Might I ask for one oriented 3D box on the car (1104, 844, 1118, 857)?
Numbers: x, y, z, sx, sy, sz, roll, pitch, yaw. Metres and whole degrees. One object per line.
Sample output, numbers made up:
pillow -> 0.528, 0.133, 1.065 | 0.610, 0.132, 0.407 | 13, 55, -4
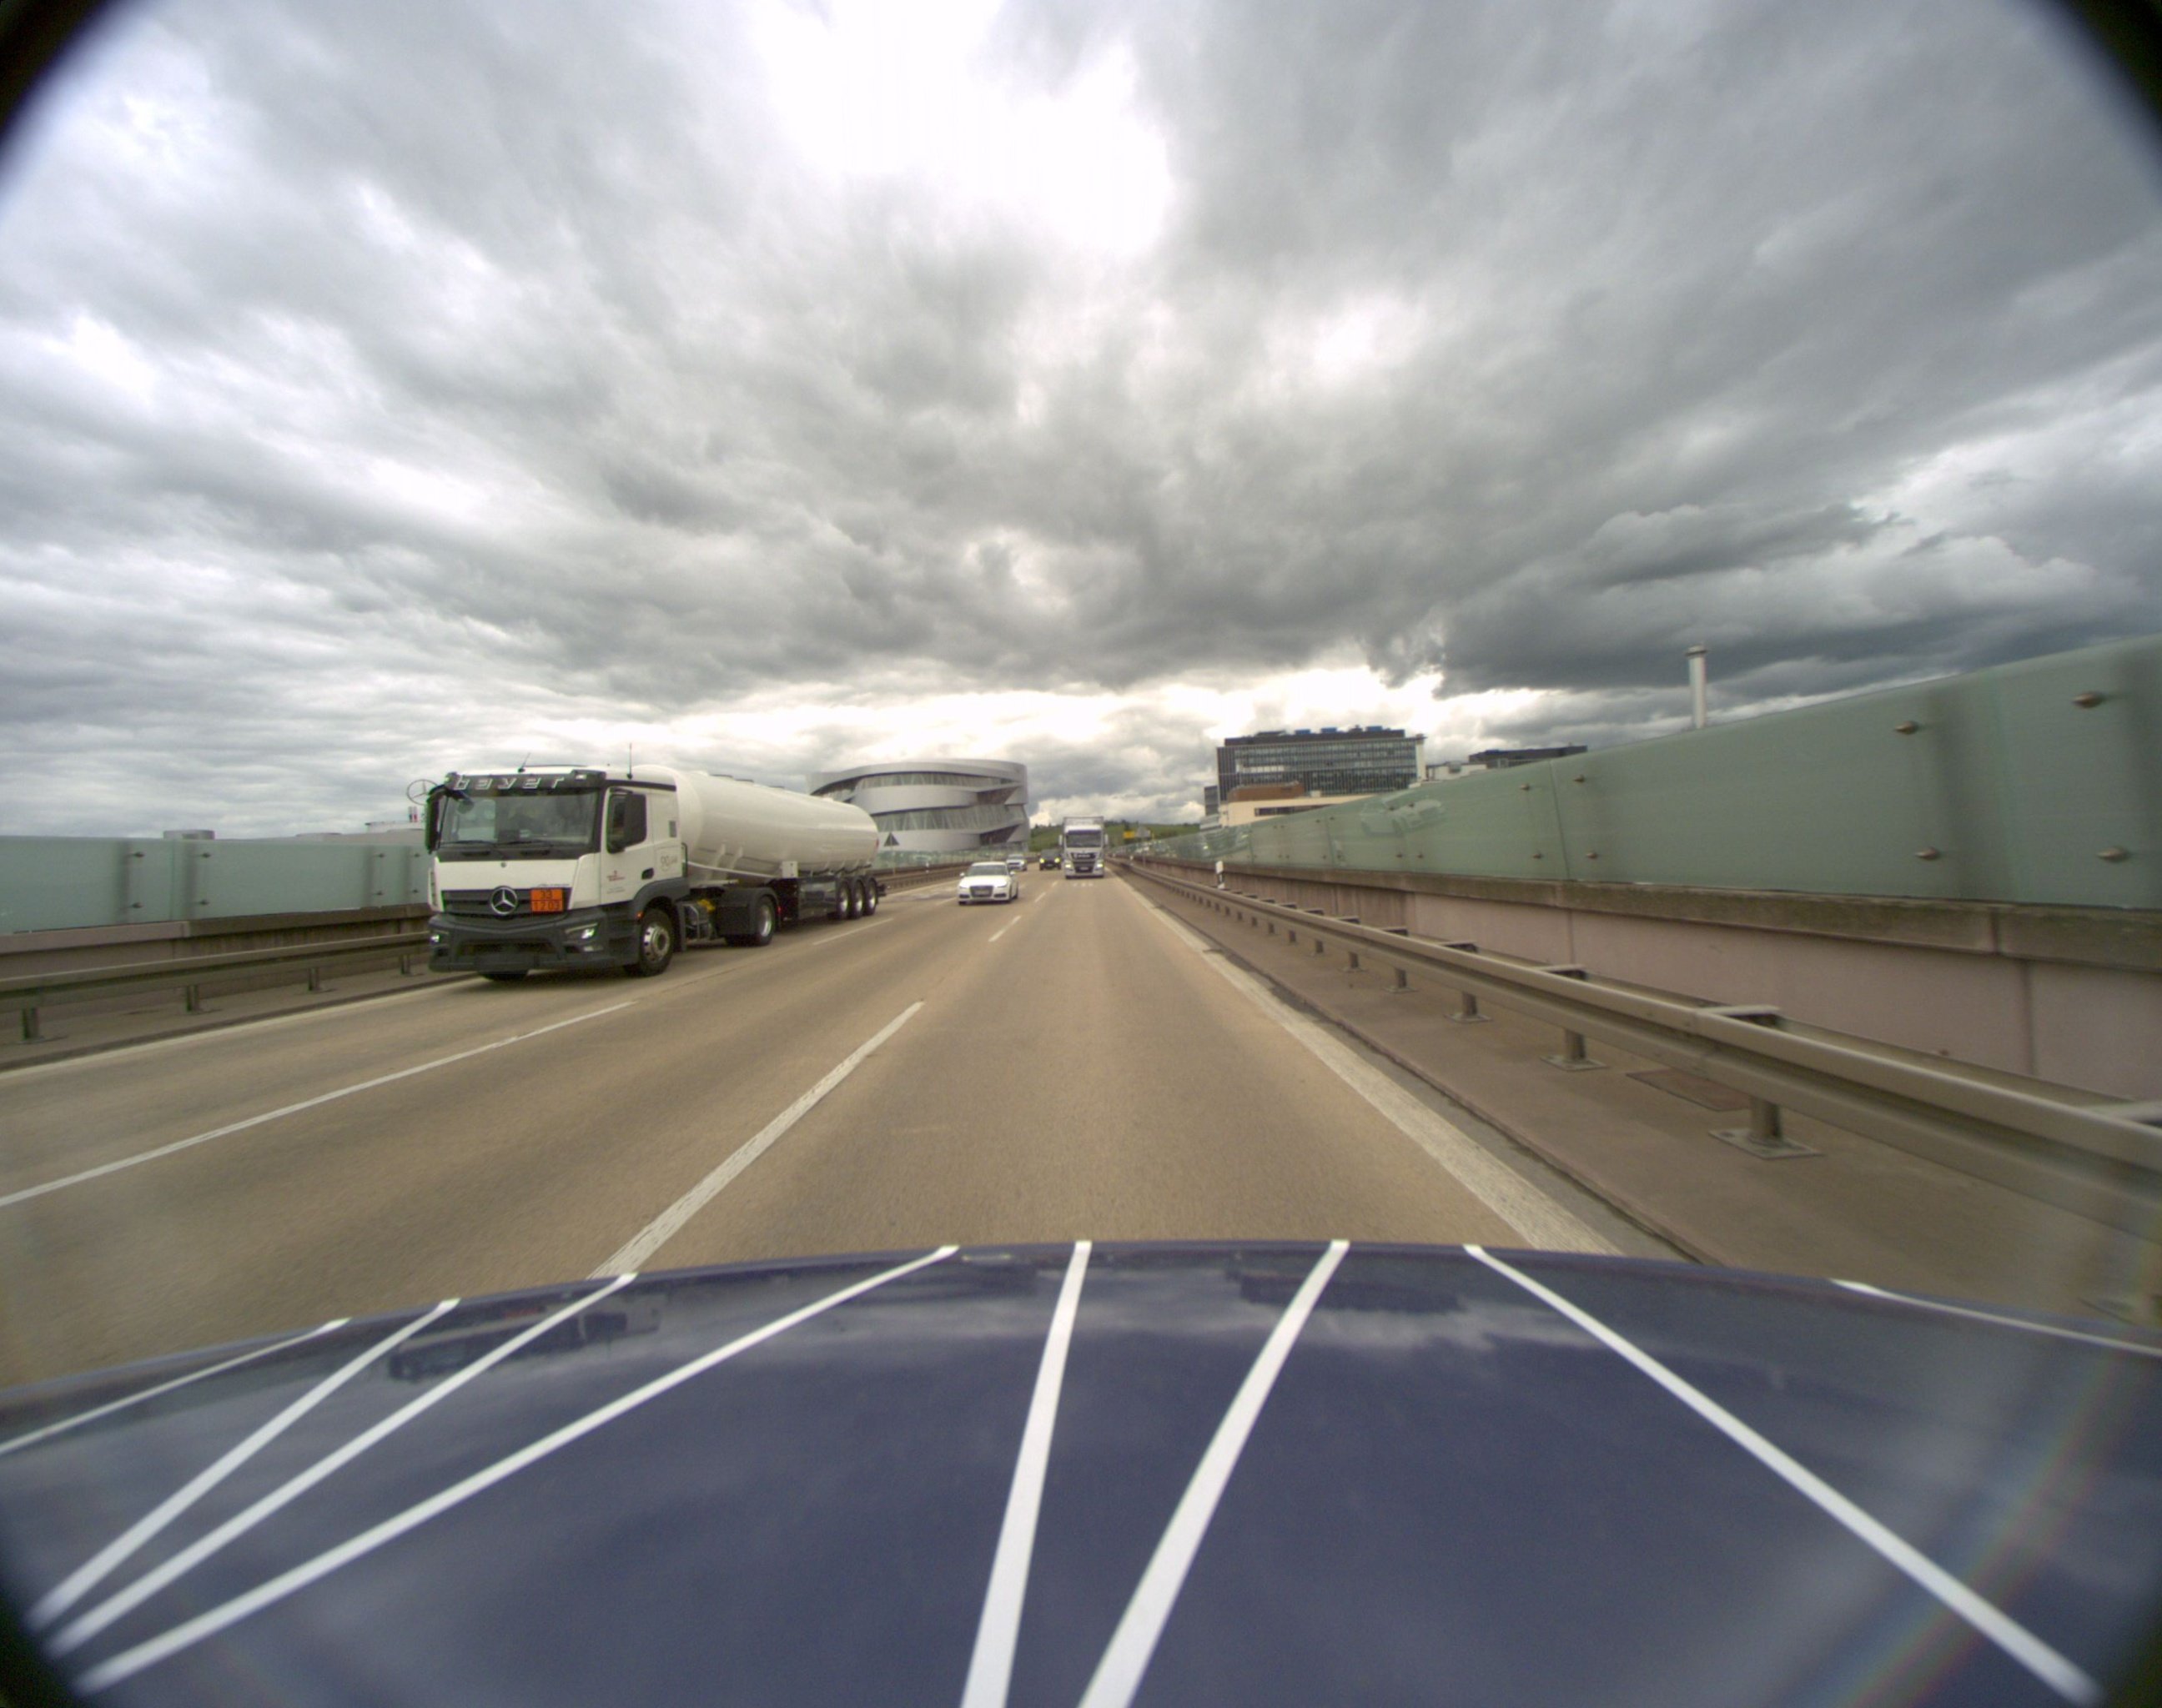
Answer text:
car -> 4.617, -0.534, 119.240 | 1.998, 2.002, 3.999 | -2, 1, 0

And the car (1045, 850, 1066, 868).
car -> -2.441, 0.435, 73.830 | 1.765, 1.624, 3.627 | -2, 1, 1

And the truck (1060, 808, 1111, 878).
truck -> 0.347, -0.661, 49.098 | 2.946, 4.136, 6.291 | -2, 1, 1

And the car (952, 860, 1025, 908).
car -> -3.185, 0.991, 26.814 | 1.848, 1.443, 3.933 | -2, 0, 3

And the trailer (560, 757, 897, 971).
trailer -> -7.312, 0.115, 18.434 | 2.657, 3.523, 11.219 | -2, 1, 1

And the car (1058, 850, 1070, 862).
car -> -3.069, 0.277, 136.509 | 1.998, 2.002, 3.999 | -2, 1, 1

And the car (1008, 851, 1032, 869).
car -> -5.853, 0.576, 73.218 | 1.785, 1.624, 3.627 | -2, 1, 1

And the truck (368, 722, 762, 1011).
truck -> -7.416, 0.169, 11.865 | 2.637, 3.493, 4.904 | -2, 0, 1

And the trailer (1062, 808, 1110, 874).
trailer -> 0.472, -0.857, 53.365 | 2.880, 4.104, 11.220 | -2, 0, 1
